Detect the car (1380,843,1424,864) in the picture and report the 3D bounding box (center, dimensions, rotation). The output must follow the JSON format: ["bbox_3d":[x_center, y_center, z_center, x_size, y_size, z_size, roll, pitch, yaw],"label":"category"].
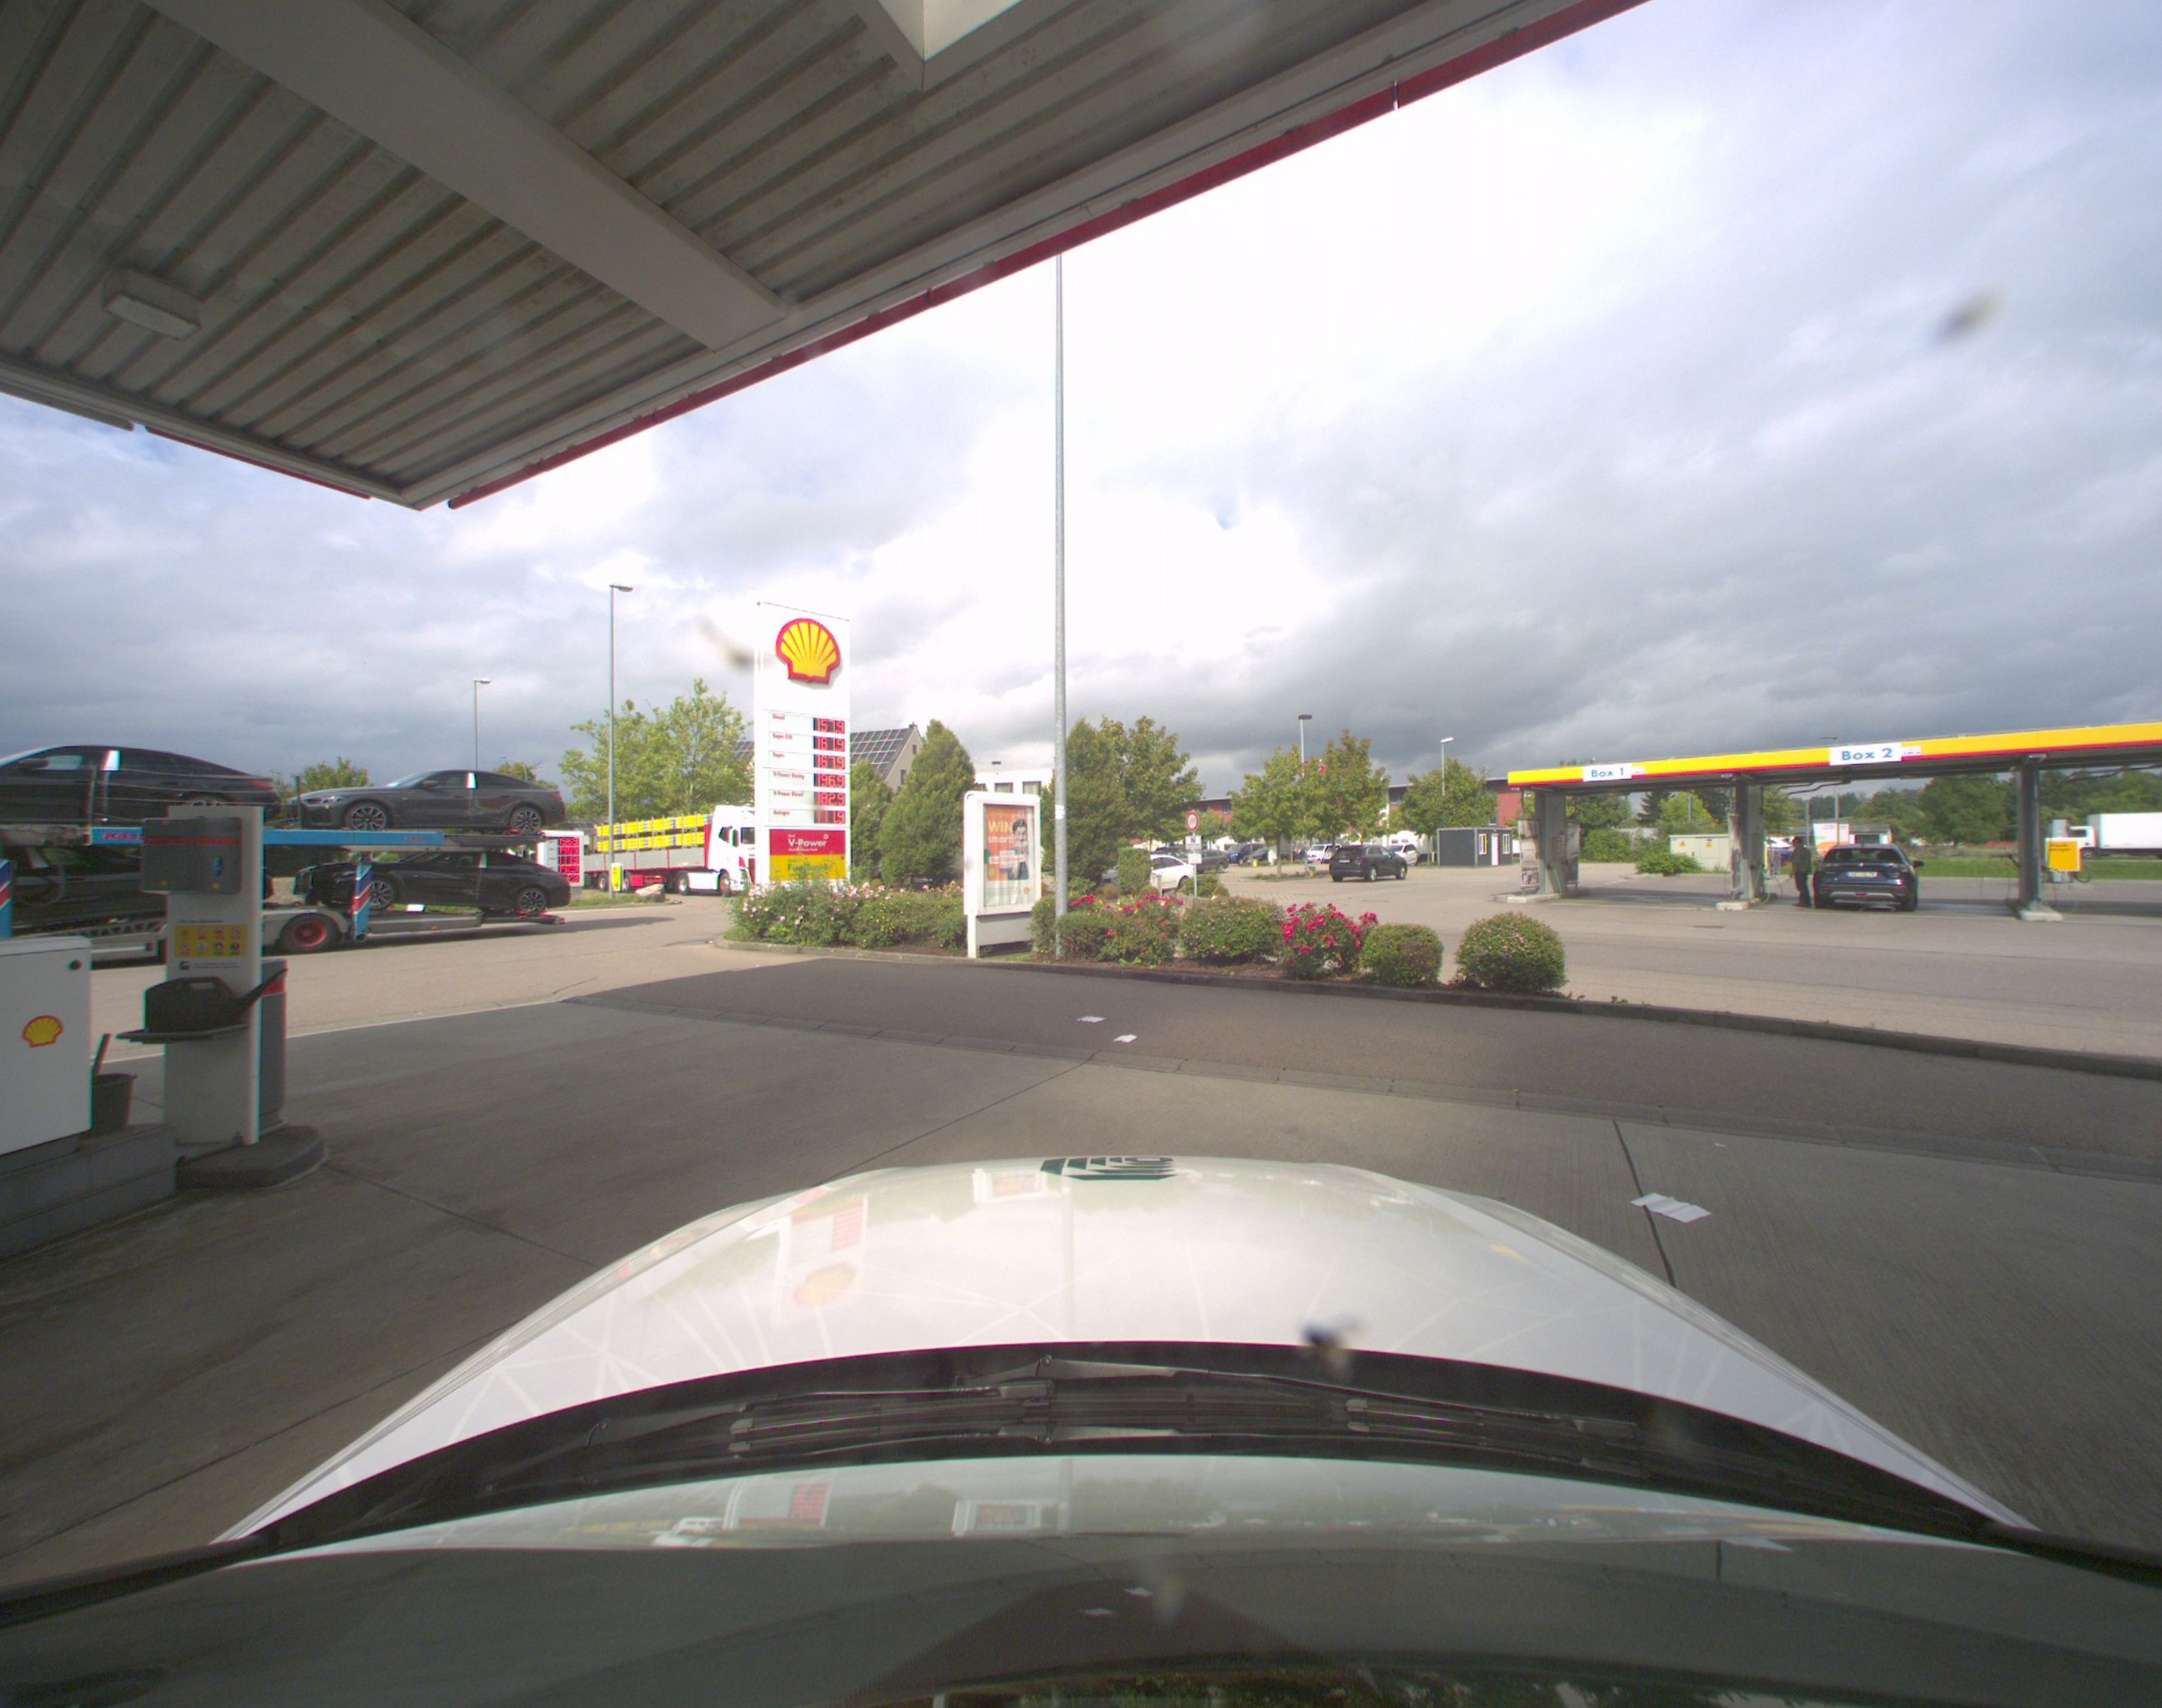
[{"bbox_3d":[20.605,-0.047,52.216,3.120,1.307,1.352,0,-1,-42],"label":"car"}]

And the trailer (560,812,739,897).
[{"bbox_3d":[-22.086,0.081,41.151,12.548,3.776,2.757,-1,-1,36],"label":"trailer"}]

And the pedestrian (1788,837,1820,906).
[{"bbox_3d":[18.298,0.437,20.620,0.551,1.722,0.531,-1,-1,38],"label":"pedestrian"}]

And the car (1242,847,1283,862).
[{"bbox_3d":[14.492,0.036,64.877,3.437,1.179,1.468,0,-1,-42],"label":"car"}]

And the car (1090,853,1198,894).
[{"bbox_3d":[2.389,0.685,30.023,4.368,1.404,1.354,0,-1,-42],"label":"car"}]

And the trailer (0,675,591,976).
[{"bbox_3d":[-16.442,-0.408,13.689,2.711,4.423,14.450,-1,-1,31],"label":"trailer"}]

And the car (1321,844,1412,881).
[{"bbox_3d":[12.872,0.375,36.581,4.527,1.548,1.864,0,-1,-41],"label":"car"}]

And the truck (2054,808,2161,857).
[{"bbox_3d":[78.229,-1.568,60.001,7.989,3.534,2.714,-1,-1,41],"label":"truck"}]

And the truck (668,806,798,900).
[{"bbox_3d":[-15.632,-0.007,36.453,5.842,3.846,2.759,-1,-1,36],"label":"truck"}]

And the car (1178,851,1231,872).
[{"bbox_3d":[7.537,0.451,49.707,3.245,1.228,1.488,0,-1,-42],"label":"car"}]

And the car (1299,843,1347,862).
[{"bbox_3d":[23.875,-0.121,80.268,4.903,1.833,2.159,0,-1,-41],"label":"car"}]

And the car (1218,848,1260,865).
[{"bbox_3d":[12.949,0.184,66.661,3.407,1.320,1.726,0,-1,-42],"label":"car"}]

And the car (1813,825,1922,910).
[{"bbox_3d":[19.432,0.314,20.075,3.828,1.897,1.703,0,-1,-43],"label":"car"}]
